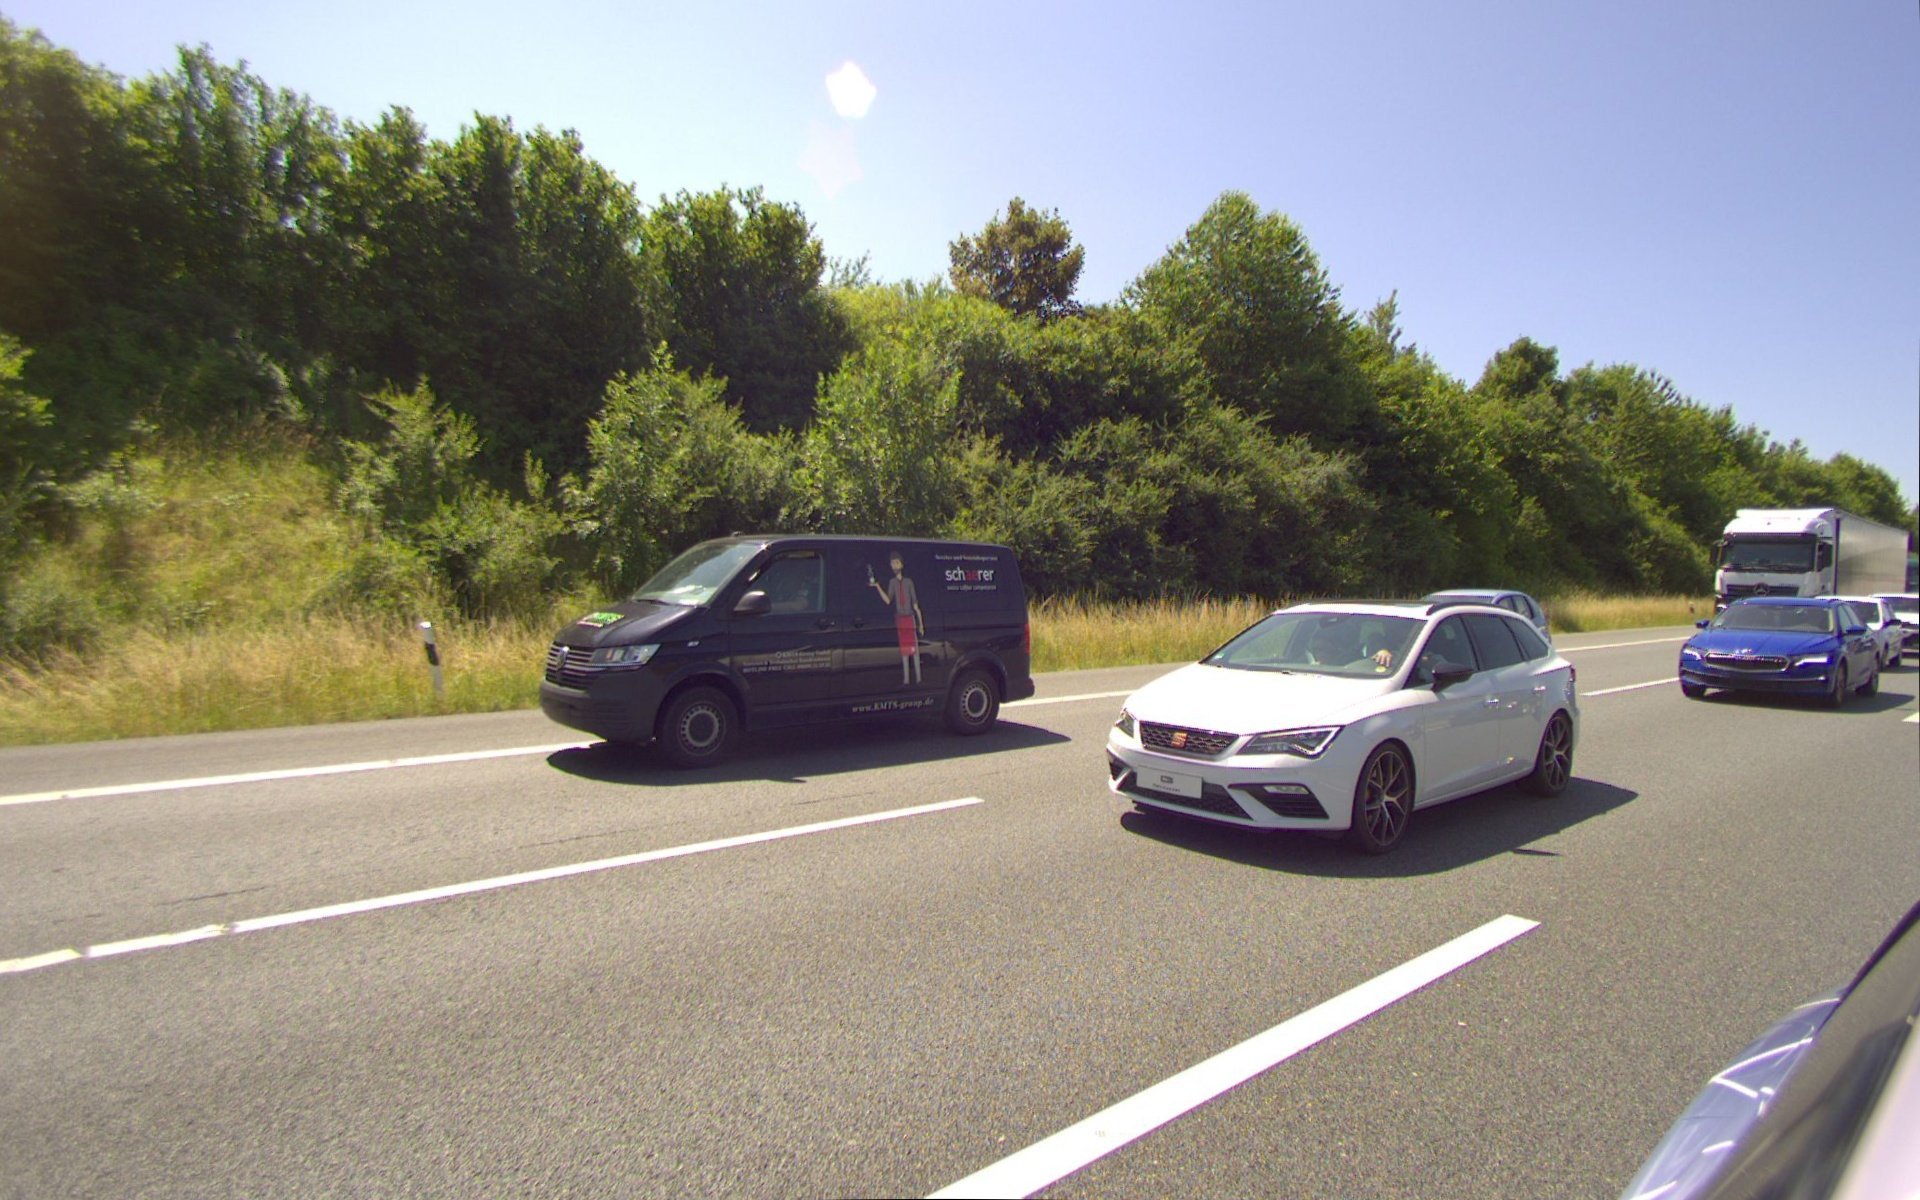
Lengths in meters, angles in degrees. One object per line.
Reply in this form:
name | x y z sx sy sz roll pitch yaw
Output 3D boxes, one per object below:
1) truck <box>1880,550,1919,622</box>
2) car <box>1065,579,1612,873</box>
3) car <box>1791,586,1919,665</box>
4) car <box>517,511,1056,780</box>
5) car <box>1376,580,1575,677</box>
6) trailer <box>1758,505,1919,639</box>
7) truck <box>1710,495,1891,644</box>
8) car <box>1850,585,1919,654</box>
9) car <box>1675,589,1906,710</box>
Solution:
truck | 44.887 -0.648 47.068 5.573 3.185 2.299 -1 1 -39
car | 2.853 0.595 7.140 4.237 1.461 1.751 -1 2 -40
car | 19.031 0.475 21.300 3.741 1.451 1.609 -1 3 -39
car | -1.446 0.272 9.648 4.770 1.964 1.918 -1 2 -40
car | 9.048 0.427 17.643 3.852 1.479 1.666 0 2 -39
trailer | 32.480 -0.964 36.817 11.858 4.208 2.880 -1 1 -39
truck | 27.027 -0.927 32.381 8.322 4.208 2.880 -1 1 -39
car | 23.852 0.440 25.332 3.816 1.577 1.748 -1 3 -40
car | 12.311 0.597 14.899 4.491 1.434 1.780 -1 3 -40
